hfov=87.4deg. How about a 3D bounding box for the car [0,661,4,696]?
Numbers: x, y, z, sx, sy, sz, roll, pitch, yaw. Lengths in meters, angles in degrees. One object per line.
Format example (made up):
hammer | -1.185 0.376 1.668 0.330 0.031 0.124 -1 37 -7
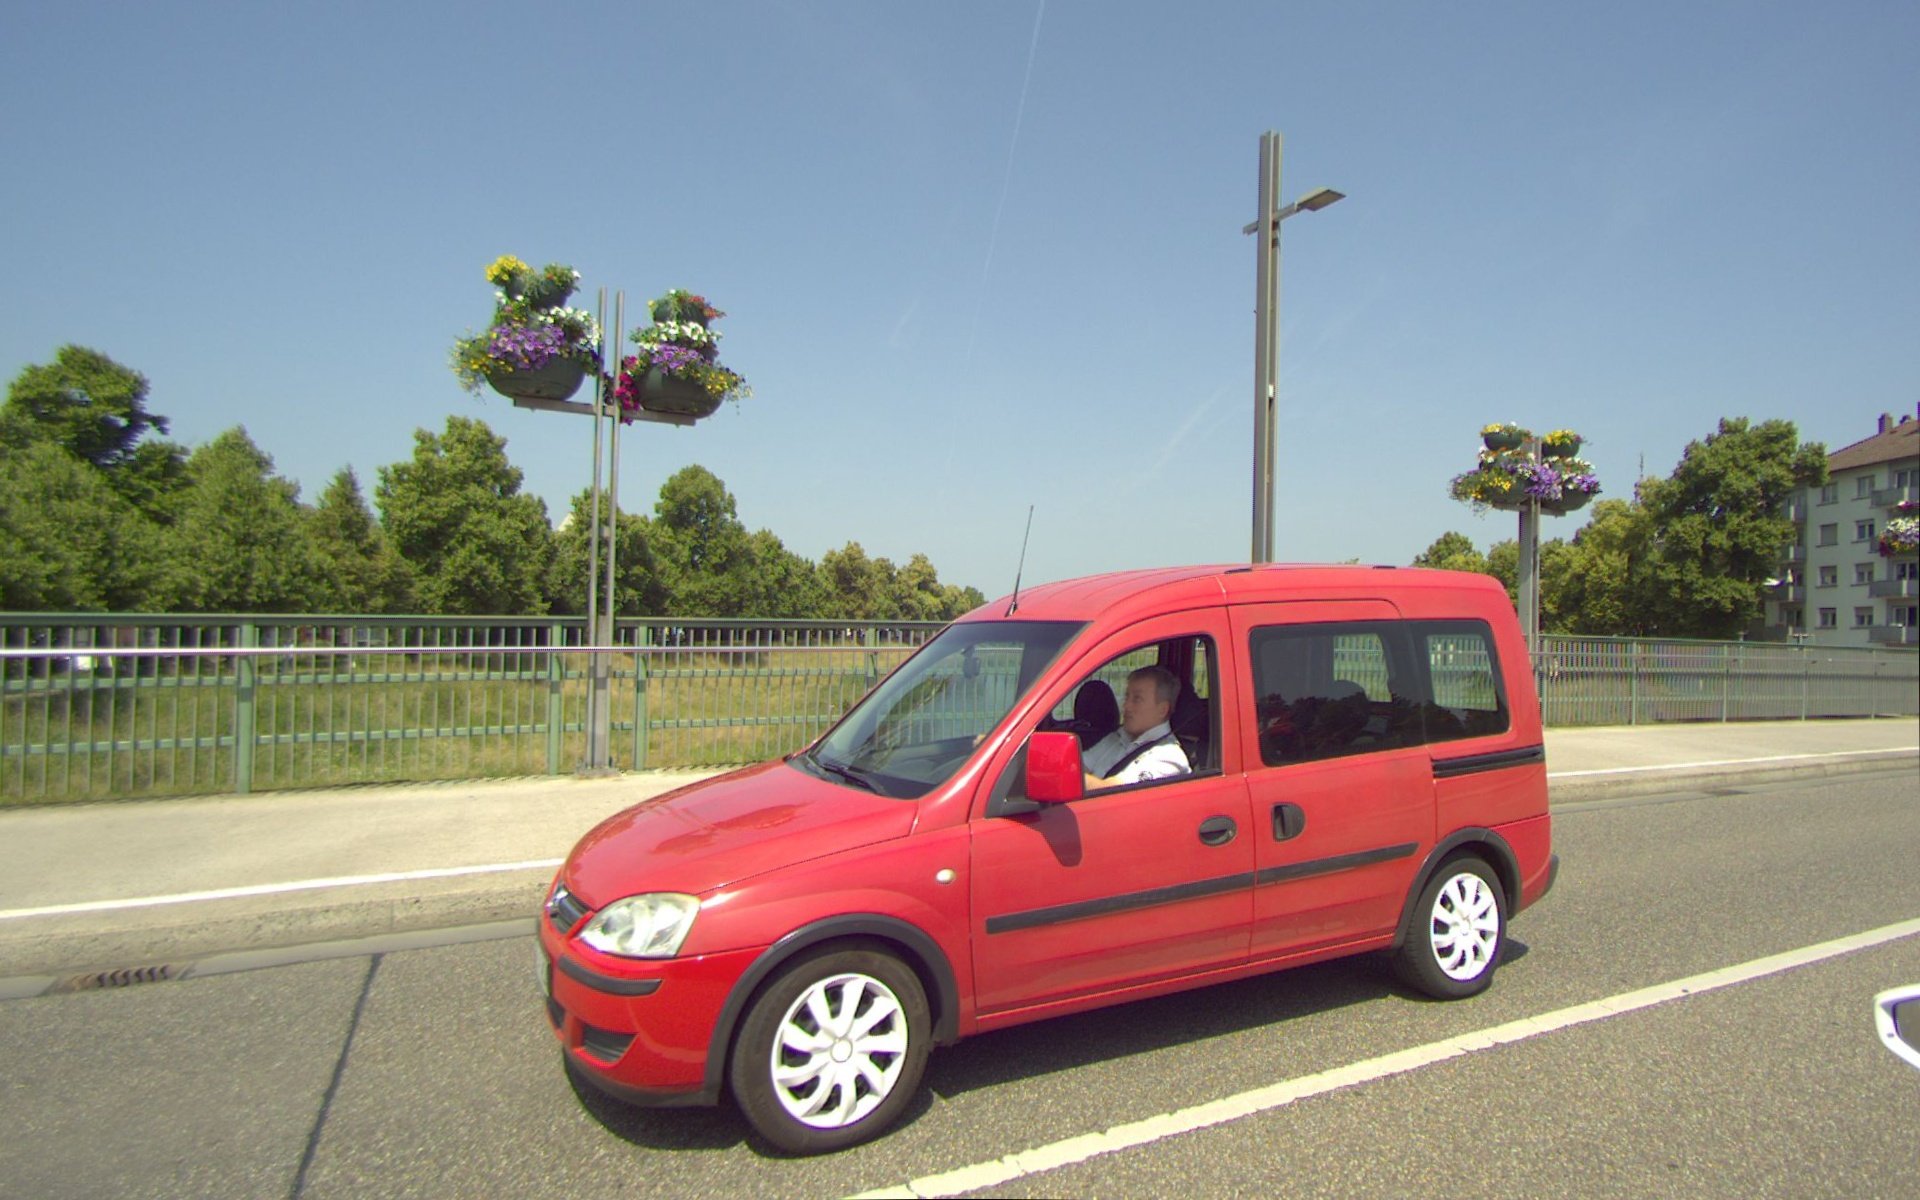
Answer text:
car | -48.226 3.784 47.516 3.953 1.671 1.984 1 -3 -30

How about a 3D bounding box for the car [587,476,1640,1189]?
car | 0.704 0.705 4.251 4.121 1.799 1.731 2 -5 -26
